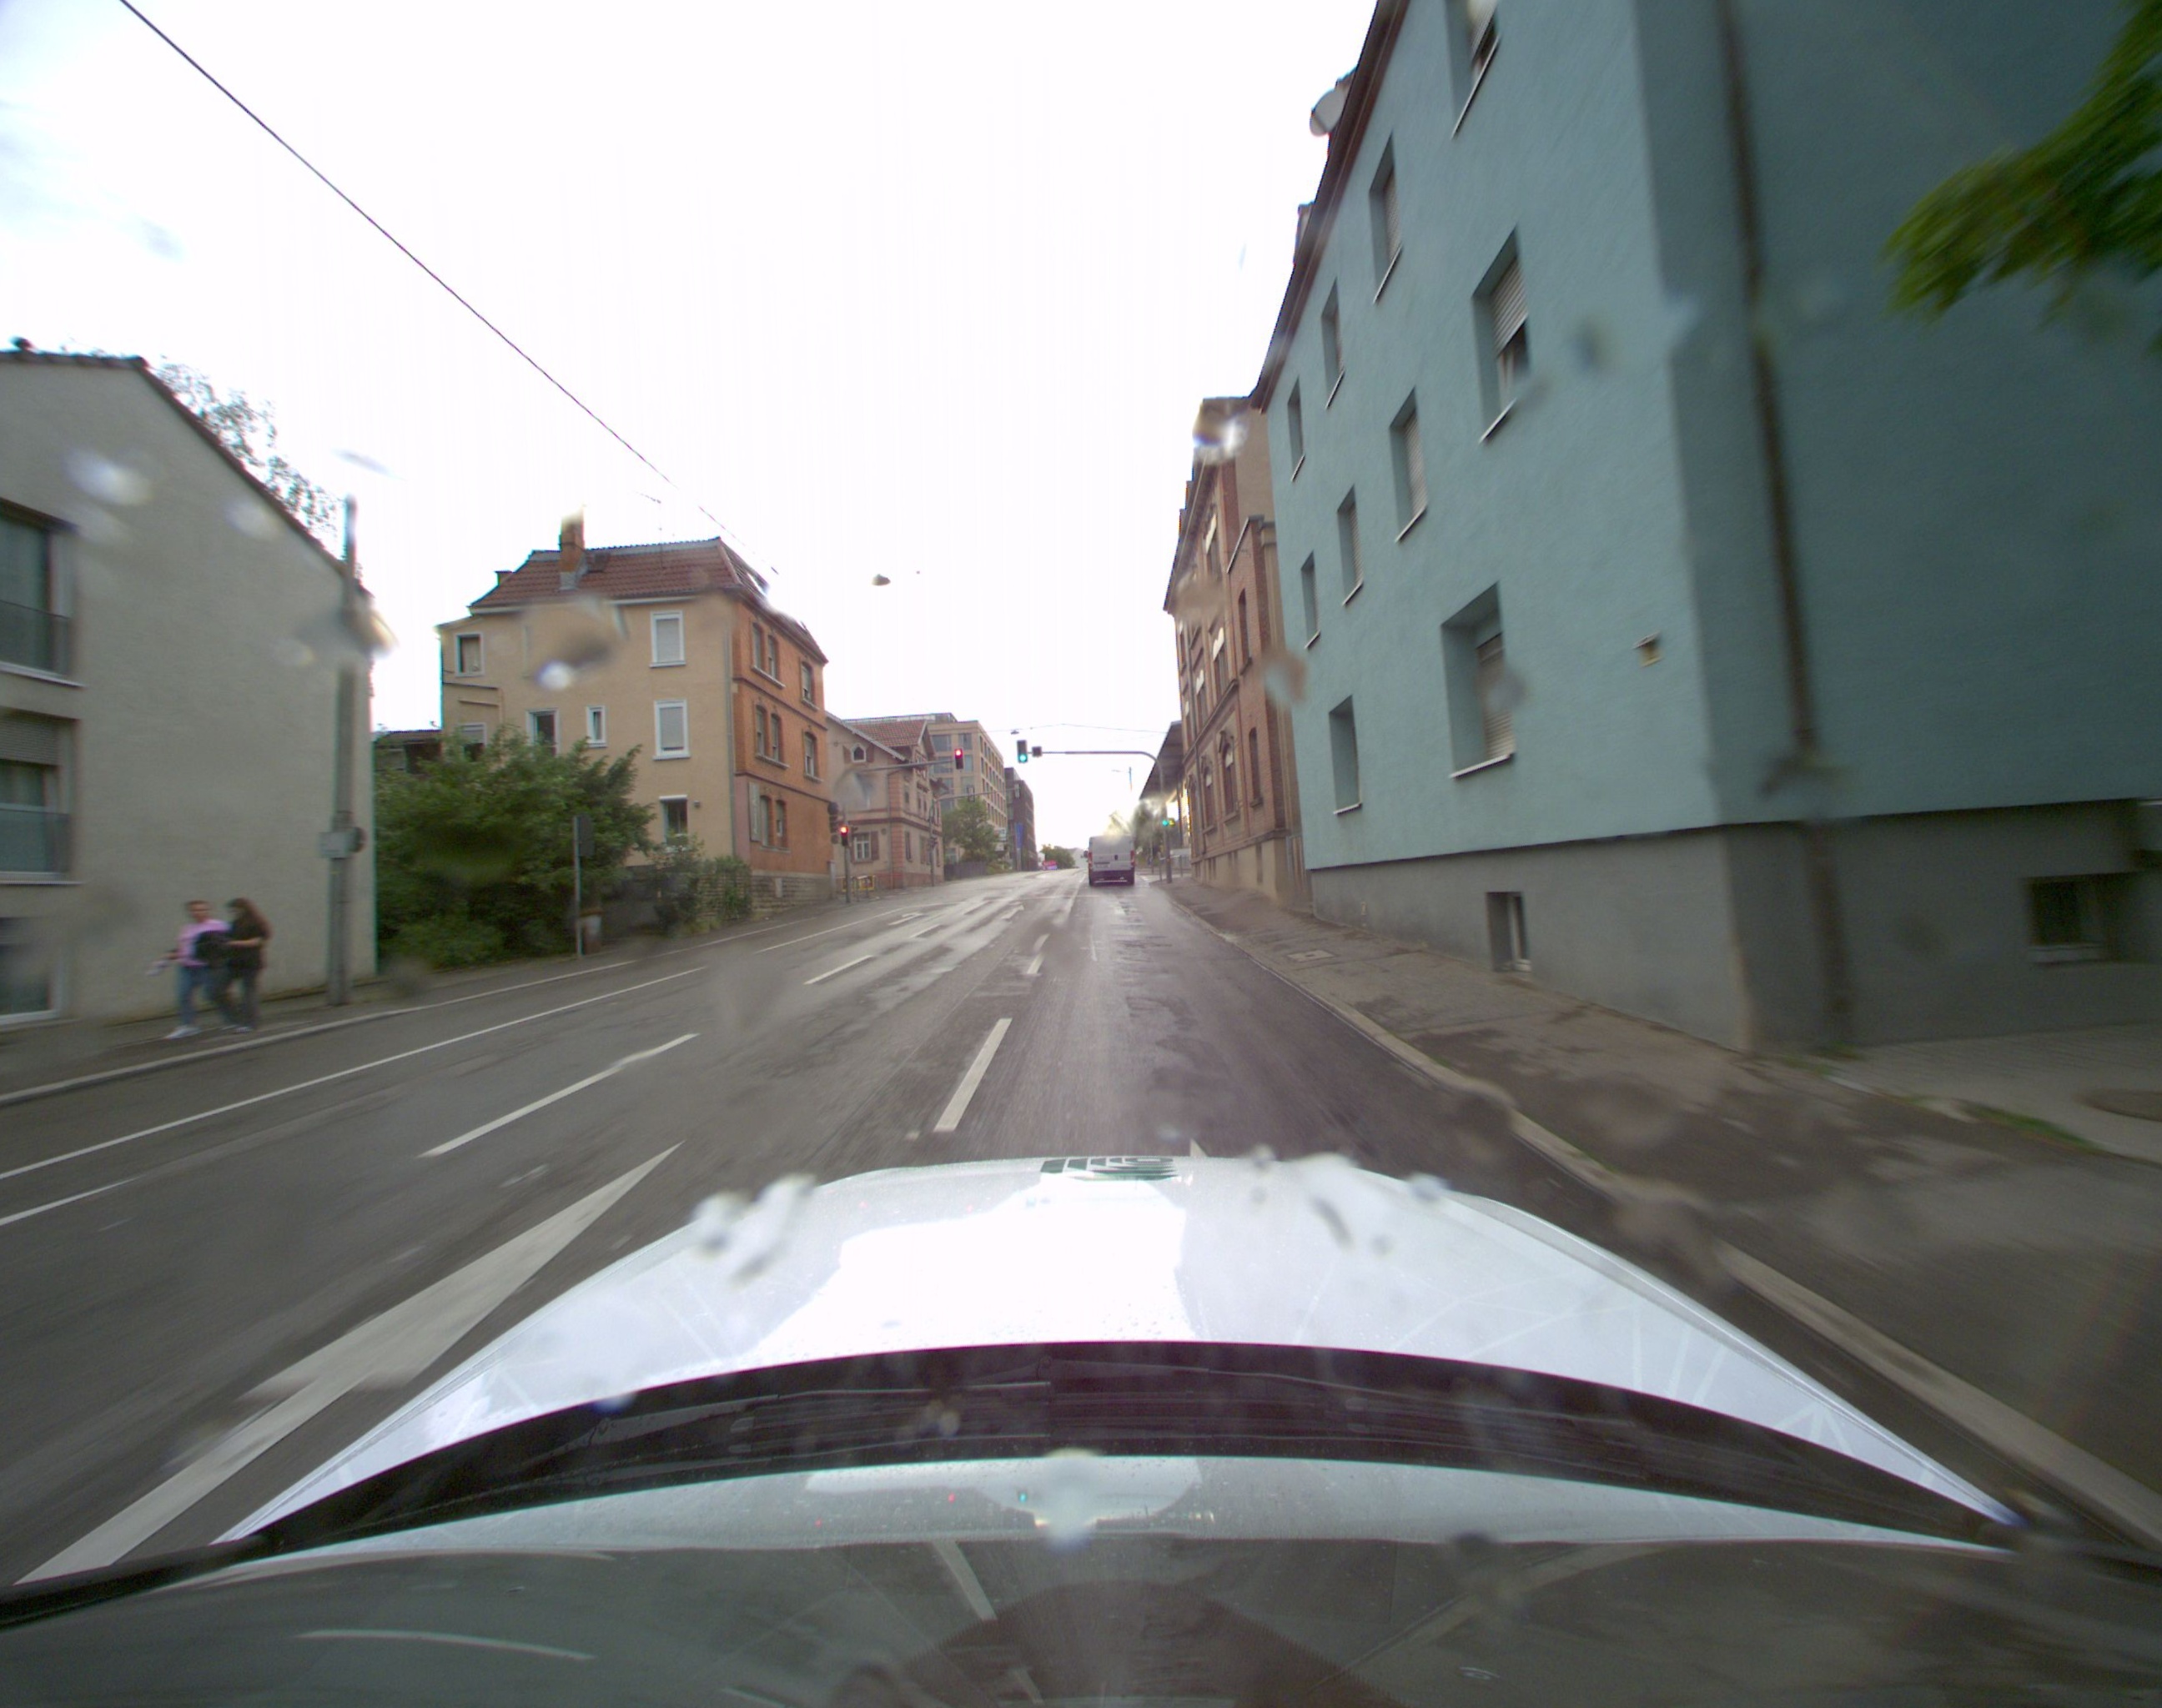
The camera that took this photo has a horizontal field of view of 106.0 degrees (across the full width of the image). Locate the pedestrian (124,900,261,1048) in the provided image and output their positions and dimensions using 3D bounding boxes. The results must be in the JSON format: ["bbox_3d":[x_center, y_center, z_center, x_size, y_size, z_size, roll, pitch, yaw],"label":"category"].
[{"bbox_3d":[-11.202,1.477,10.300,0.638,1.706,0.911,-3,-1,2],"label":"pedestrian"}]

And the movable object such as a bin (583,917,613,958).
[{"bbox_3d":[-11.653,2.011,19.651,0.408,0.925,0.525,-3,-1,-6],"label":"movable object such as a bin"}]

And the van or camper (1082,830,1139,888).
[{"bbox_3d":[1.353,0.261,37.511,2.331,2.357,5.201,-3,-1,2],"label":"van or camper"}]

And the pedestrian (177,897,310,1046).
[{"bbox_3d":[-10.462,1.434,10.211,0.638,1.706,0.911,-3,-1,2],"label":"pedestrian"}]
